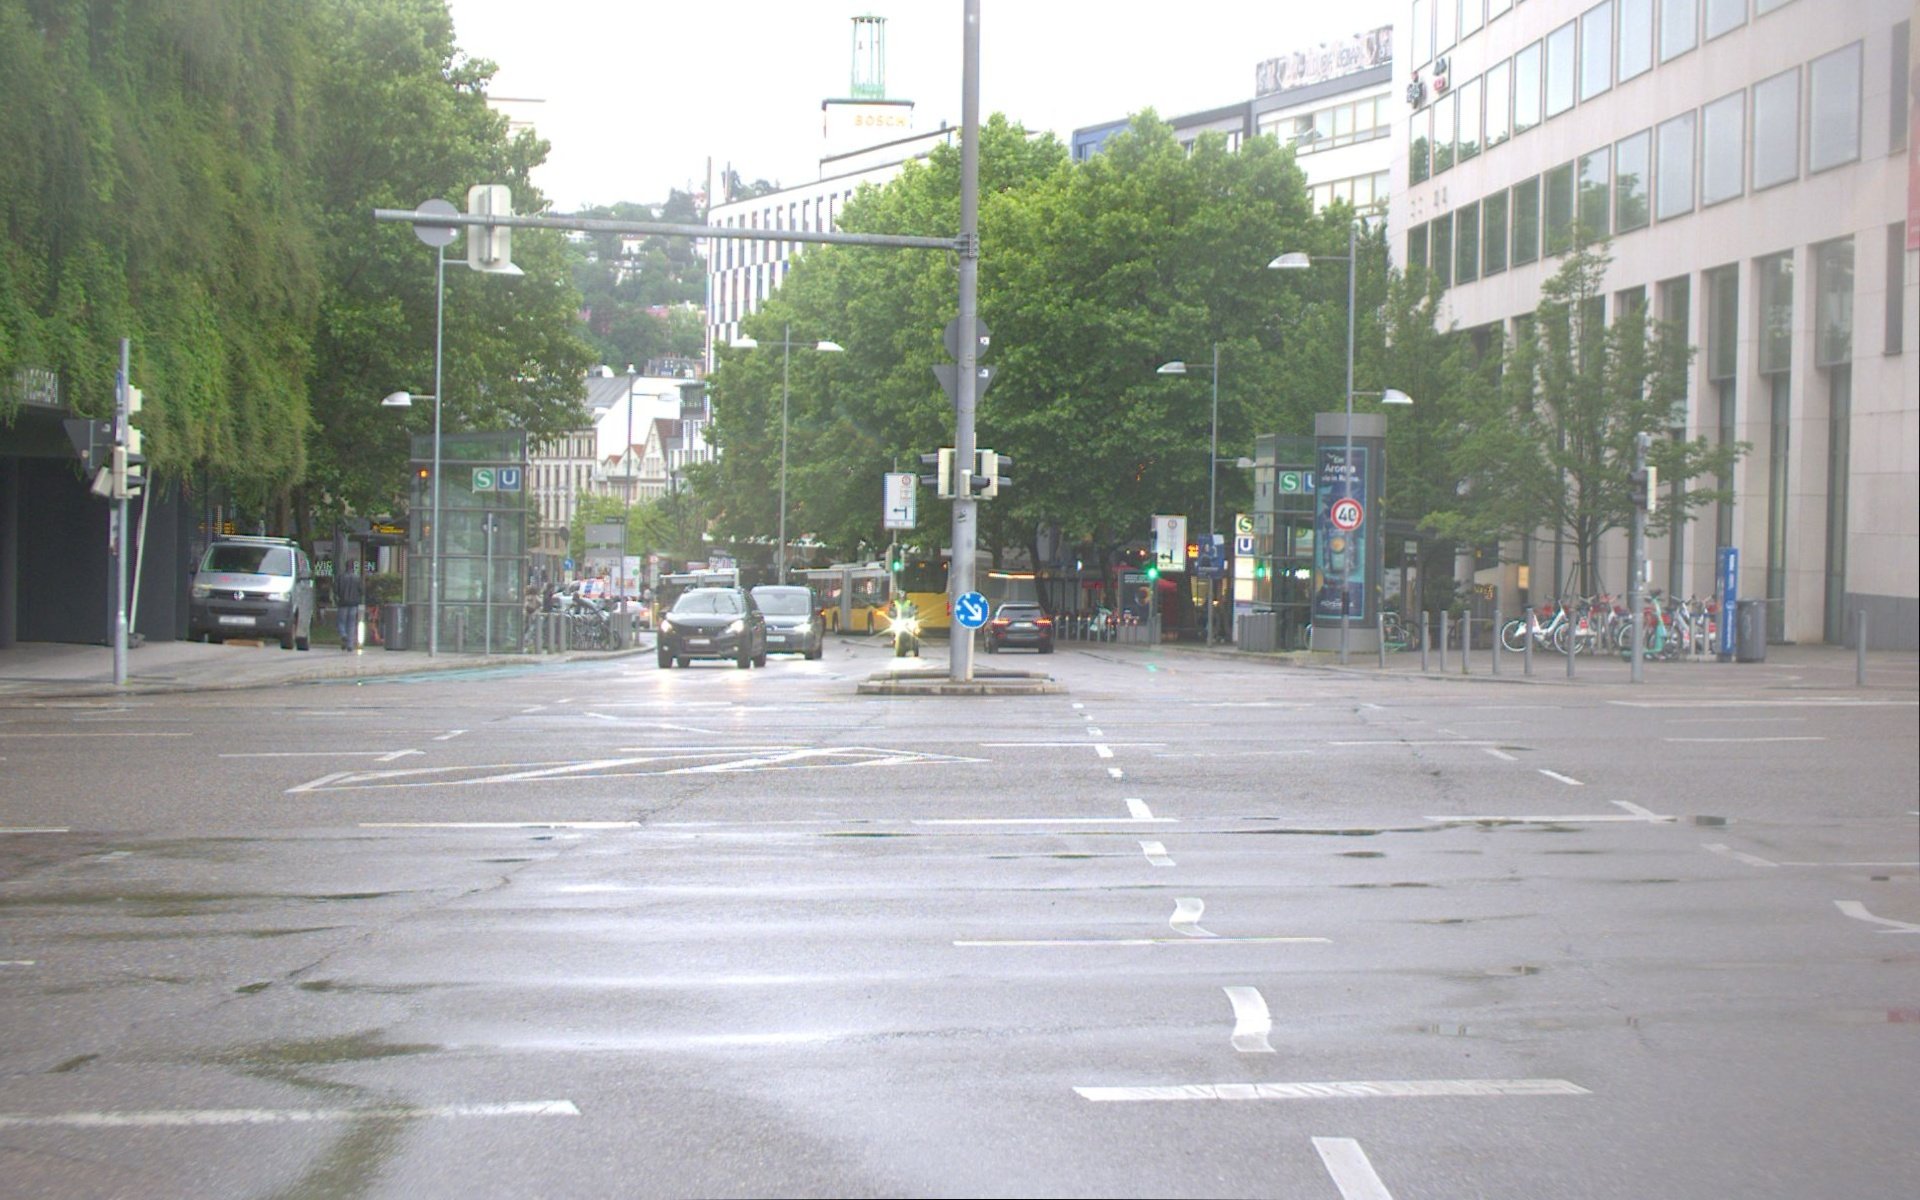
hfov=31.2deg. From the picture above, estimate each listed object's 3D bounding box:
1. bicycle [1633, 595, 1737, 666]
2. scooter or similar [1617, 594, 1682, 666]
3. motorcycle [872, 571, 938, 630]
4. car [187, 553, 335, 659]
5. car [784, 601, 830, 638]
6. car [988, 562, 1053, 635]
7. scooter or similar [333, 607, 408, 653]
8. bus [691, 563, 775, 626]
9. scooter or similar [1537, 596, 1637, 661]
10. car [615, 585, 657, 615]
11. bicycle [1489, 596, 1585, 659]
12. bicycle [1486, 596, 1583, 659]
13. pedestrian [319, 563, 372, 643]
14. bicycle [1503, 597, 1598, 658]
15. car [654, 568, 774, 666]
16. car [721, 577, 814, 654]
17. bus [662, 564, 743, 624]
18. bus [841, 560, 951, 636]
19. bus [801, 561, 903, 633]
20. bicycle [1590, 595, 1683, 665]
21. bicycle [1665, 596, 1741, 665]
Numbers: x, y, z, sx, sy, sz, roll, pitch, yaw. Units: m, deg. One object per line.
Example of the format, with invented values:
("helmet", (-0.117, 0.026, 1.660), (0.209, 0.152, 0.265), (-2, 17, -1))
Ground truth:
("bicycle", (12.391, 0.518, 58.747), (1.624, 1.190, 0.586), (1, 0, 26))
("scooter or similar", (11.637, 0.503, 58.063), (0.963, 1.190, 0.454), (1, -1, 40))
("motorcycle", (-1.484, 0.028, 91.121), (1.551, 1.509, 4.385), (1, 0, -3))
("car", (-12.617, 0.114, 62.267), (1.870, 1.833, 4.000), (1, 0, -1))
("car", (-6.387, 0.817, 143.626), (1.781, 1.503, 4.000), (1, 0, -1))
("car", (1.696, -0.025, 97.747), (1.544, 2.007, 4.668), (1, 0, -2))
("scooter or similar", (-13.109, 0.667, 76.478), (0.623, 1.001, 1.657), (1, 0, 38))
("bus", (-11.078, -0.273, 167.176), (2.627, 2.985, 7.330), (0, 0, -16))
("scooter or similar", (11.833, 0.535, 64.887), (1.777, 1.190, 0.586), (1, 0, 2))
("car", (-16.874, 0.014, 179.139), (1.781, 1.503, 4.000), (1, 0, -1))
("bicycle", (11.290, 0.536, 67.314), (1.777, 1.190, 0.586), (1, 0, 2))
("bicycle", (11.141, 0.531, 66.679), (1.777, 1.190, 0.586), (1, 0, 2))
("pedestrian", (-12.729, 0.057, 71.226), (0.933, 1.638, 0.774), (1, 0, -1))
("bicycle", (11.720, 0.547, 68.231), (1.777, 1.190, 0.586), (1, 0, 2))
("car", (-4.644, 0.318, 65.385), (2.164, 1.759, 5.112), (1, 0, -3))
("car", (-4.665, 0.373, 83.375), (2.164, 1.759, 5.112), (1, 0, -3))
("bus", (-13.085, -0.336, 174.275), (2.627, 2.985, 7.451), (0, 0, -16))
("bus", (-2.653, -0.095, 139.873), (2.627, 2.985, 7.451), (0, 0, -16))
("bus", (-4.659, -0.138, 147.023), (2.627, 2.985, 7.451), (0, 0, -16))
("bicycle", (11.850, 0.516, 60.300), (0.584, 1.190, 1.783), (1, 0, -28))
("bicycle", (13.154, 0.539, 60.856), (0.586, 1.190, 1.779), (1, 0, 38))
